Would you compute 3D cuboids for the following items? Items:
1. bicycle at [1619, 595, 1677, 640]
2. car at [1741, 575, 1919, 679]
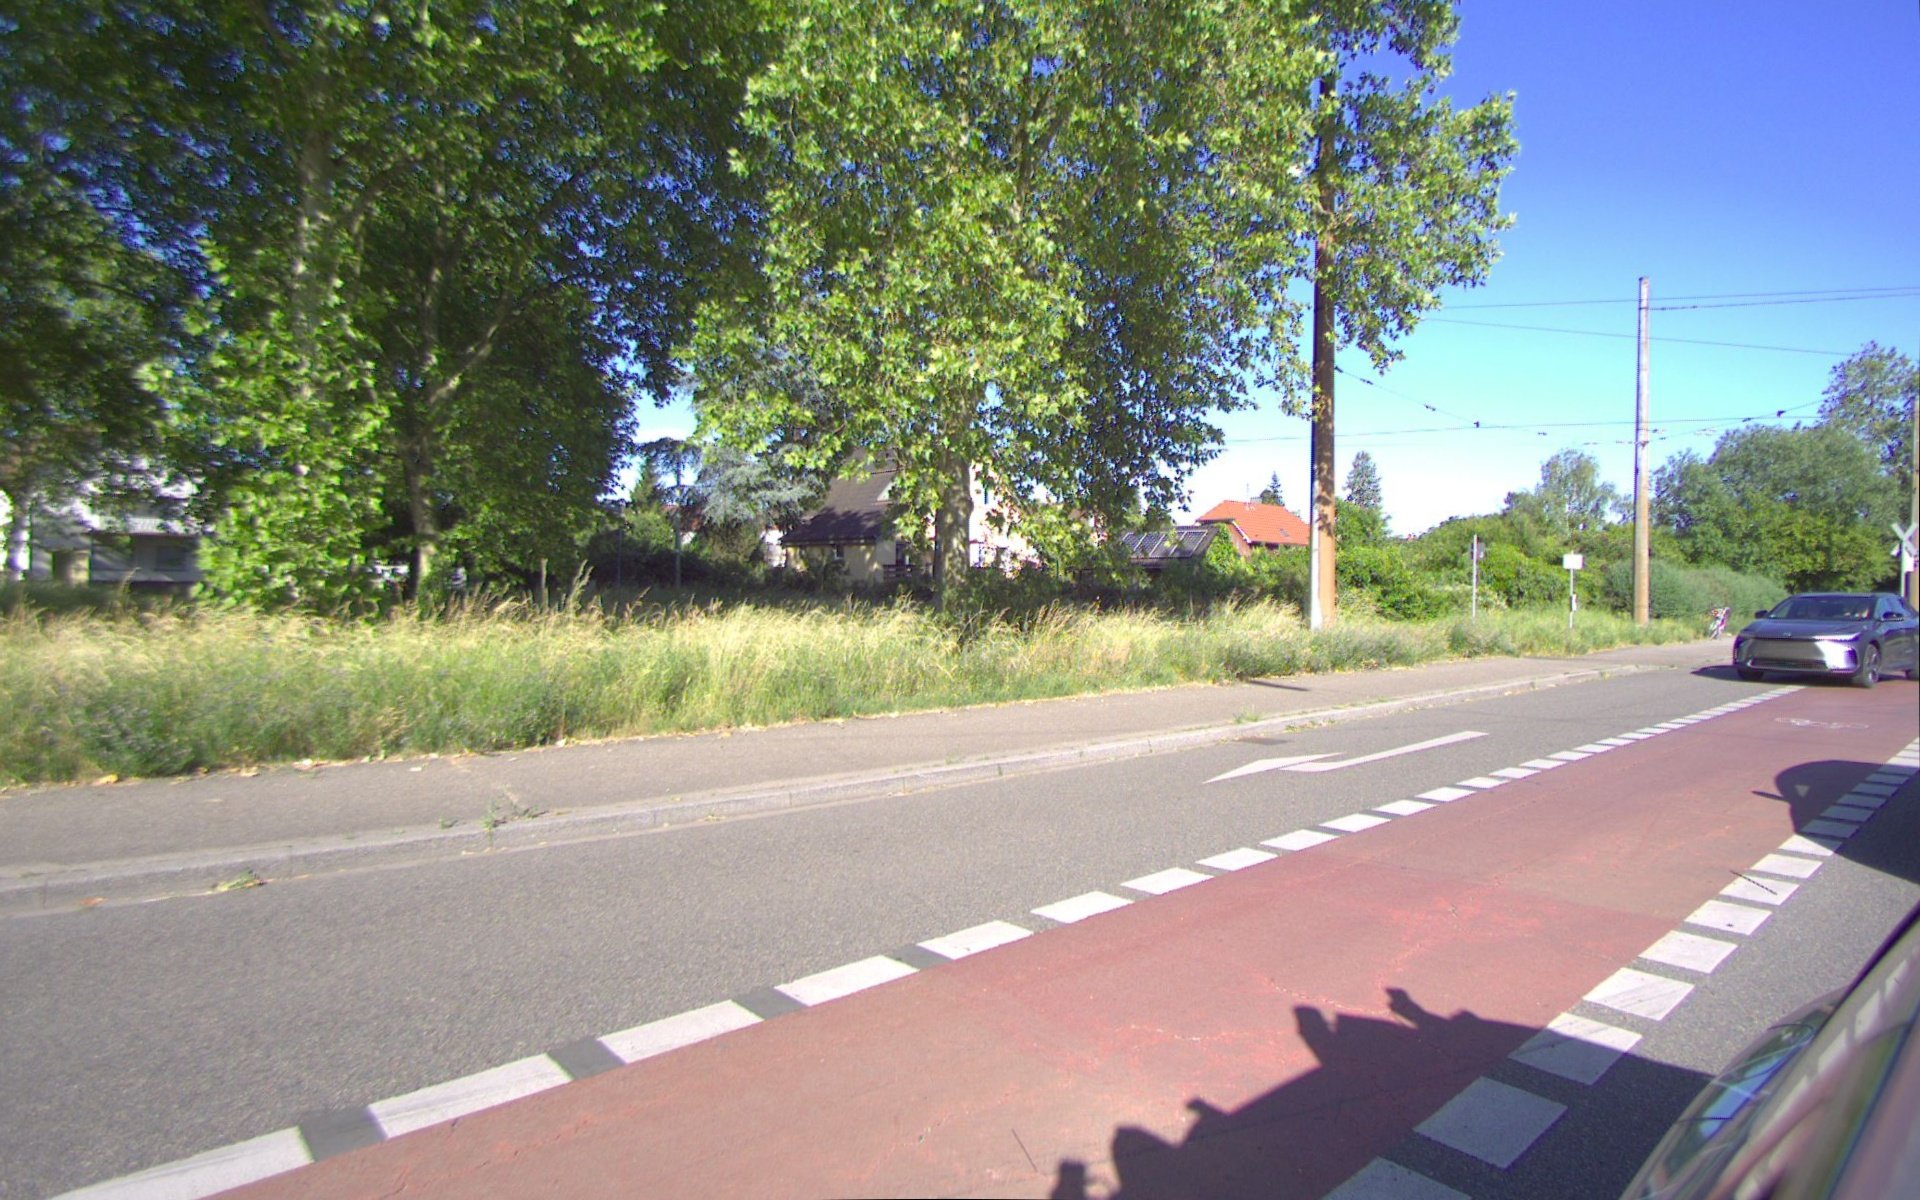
[{"bbox_3d":[18.397,0.449,27.095,0.360,1.149,2.091,1,1,7],"label":"bicycle"},{"bbox_3d":[16.010,0.426,18.152,4.410,1.651,1.773,0,1,-33],"label":"car"}]
